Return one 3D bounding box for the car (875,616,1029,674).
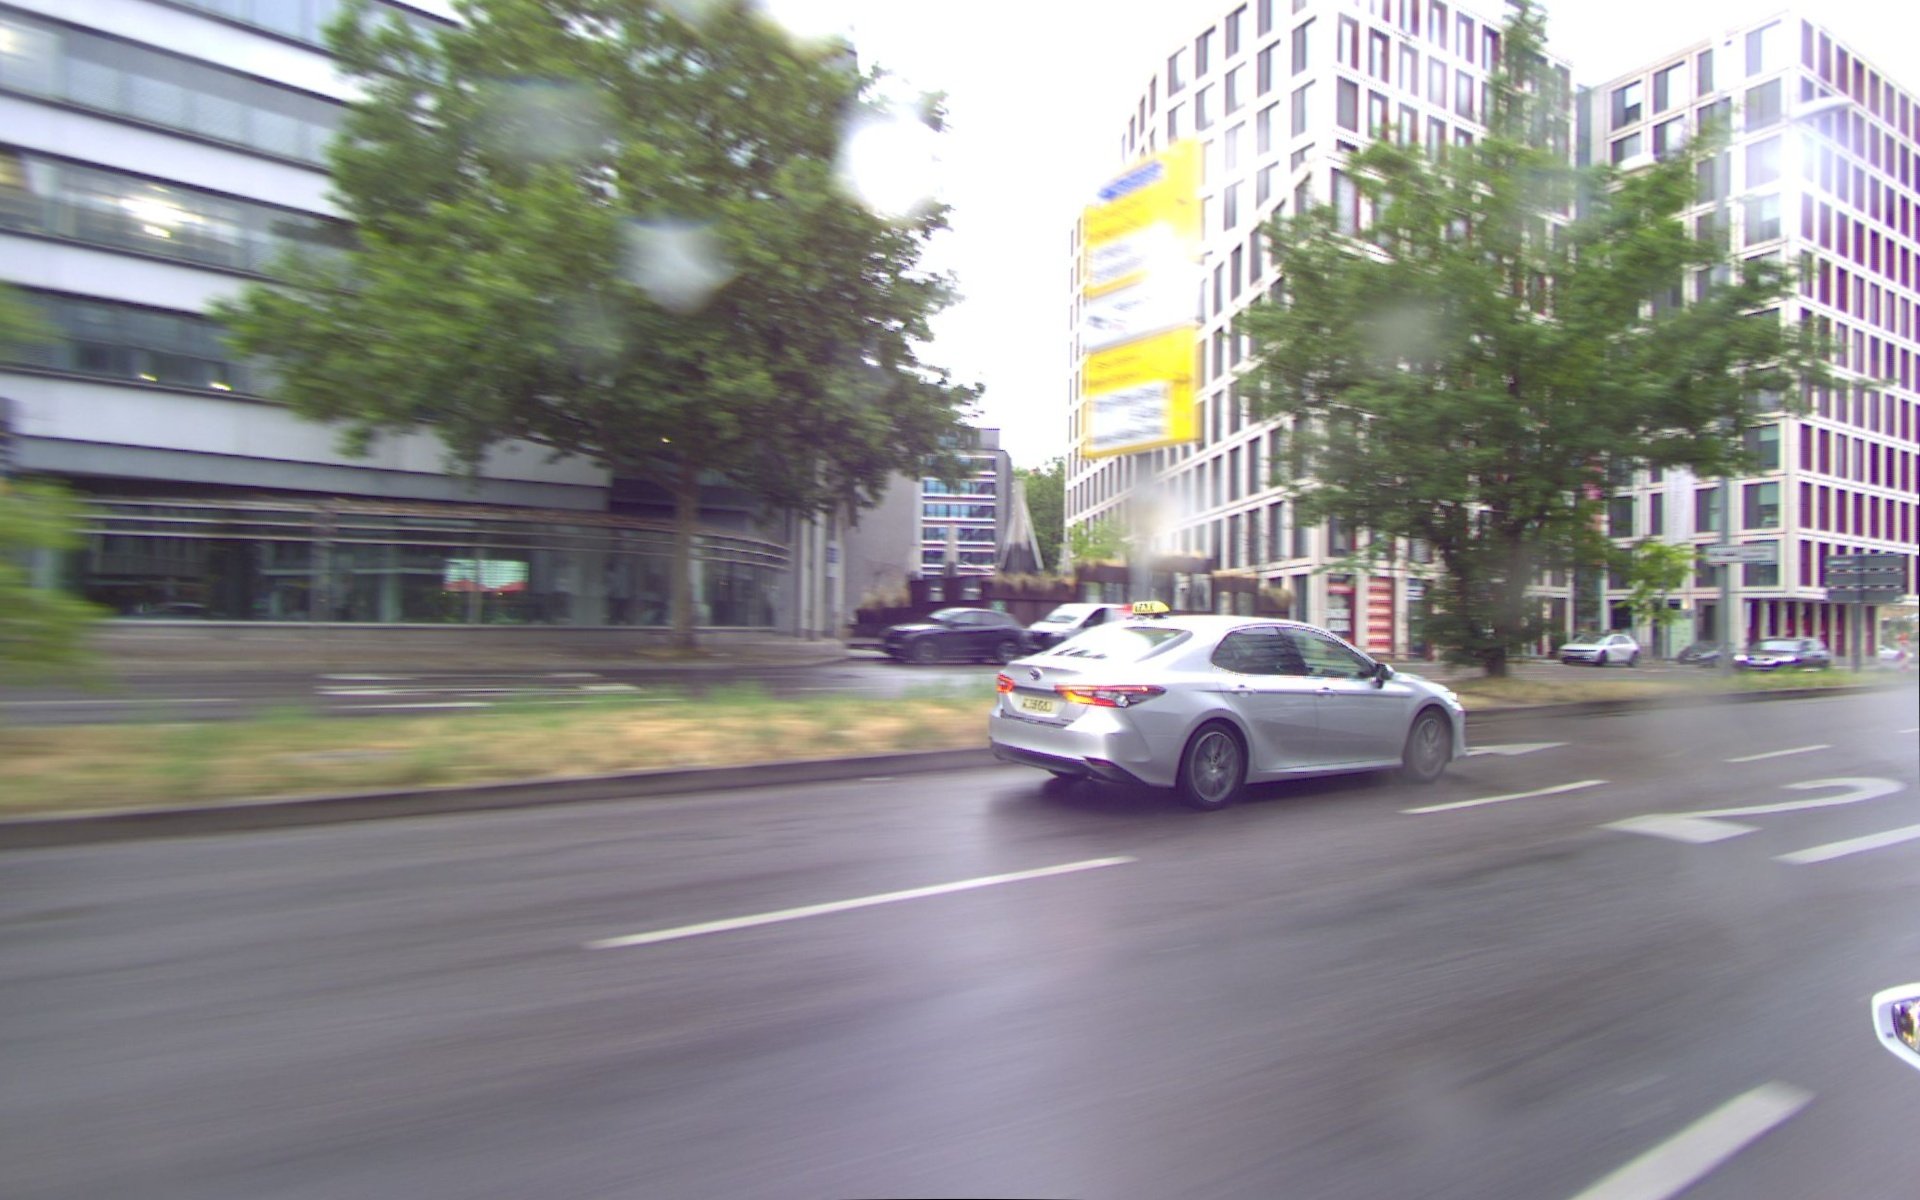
[{"bbox_3d":[-0.205,1.332,29.779,4.240,1.549,1.787,3,-1,-33],"label":"car"}]

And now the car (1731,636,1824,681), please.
[{"bbox_3d":[32.663,2.349,40.102,4.831,1.653,1.812,3,-1,-38],"label":"car"}]

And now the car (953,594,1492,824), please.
[{"bbox_3d":[2.440,0.838,8.803,4.750,1.541,1.820,3,-1,-33],"label":"car"}]

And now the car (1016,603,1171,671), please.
[{"bbox_3d":[4.405,1.236,32.912,4.863,2.040,1.982,3,-1,-33],"label":"car"}]

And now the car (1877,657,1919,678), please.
[{"bbox_3d":[86.441,6.186,91.382,4.333,1.684,1.989,1,-1,43],"label":"car"}]

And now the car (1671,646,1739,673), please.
[{"bbox_3d":[40.569,3.232,54.691,3.912,1.442,1.689,3,-3,-32],"label":"car"}]

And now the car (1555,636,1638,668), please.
[{"bbox_3d":[30.908,2.536,48.741,4.326,1.442,1.689,3,-3,-32],"label":"car"}]
